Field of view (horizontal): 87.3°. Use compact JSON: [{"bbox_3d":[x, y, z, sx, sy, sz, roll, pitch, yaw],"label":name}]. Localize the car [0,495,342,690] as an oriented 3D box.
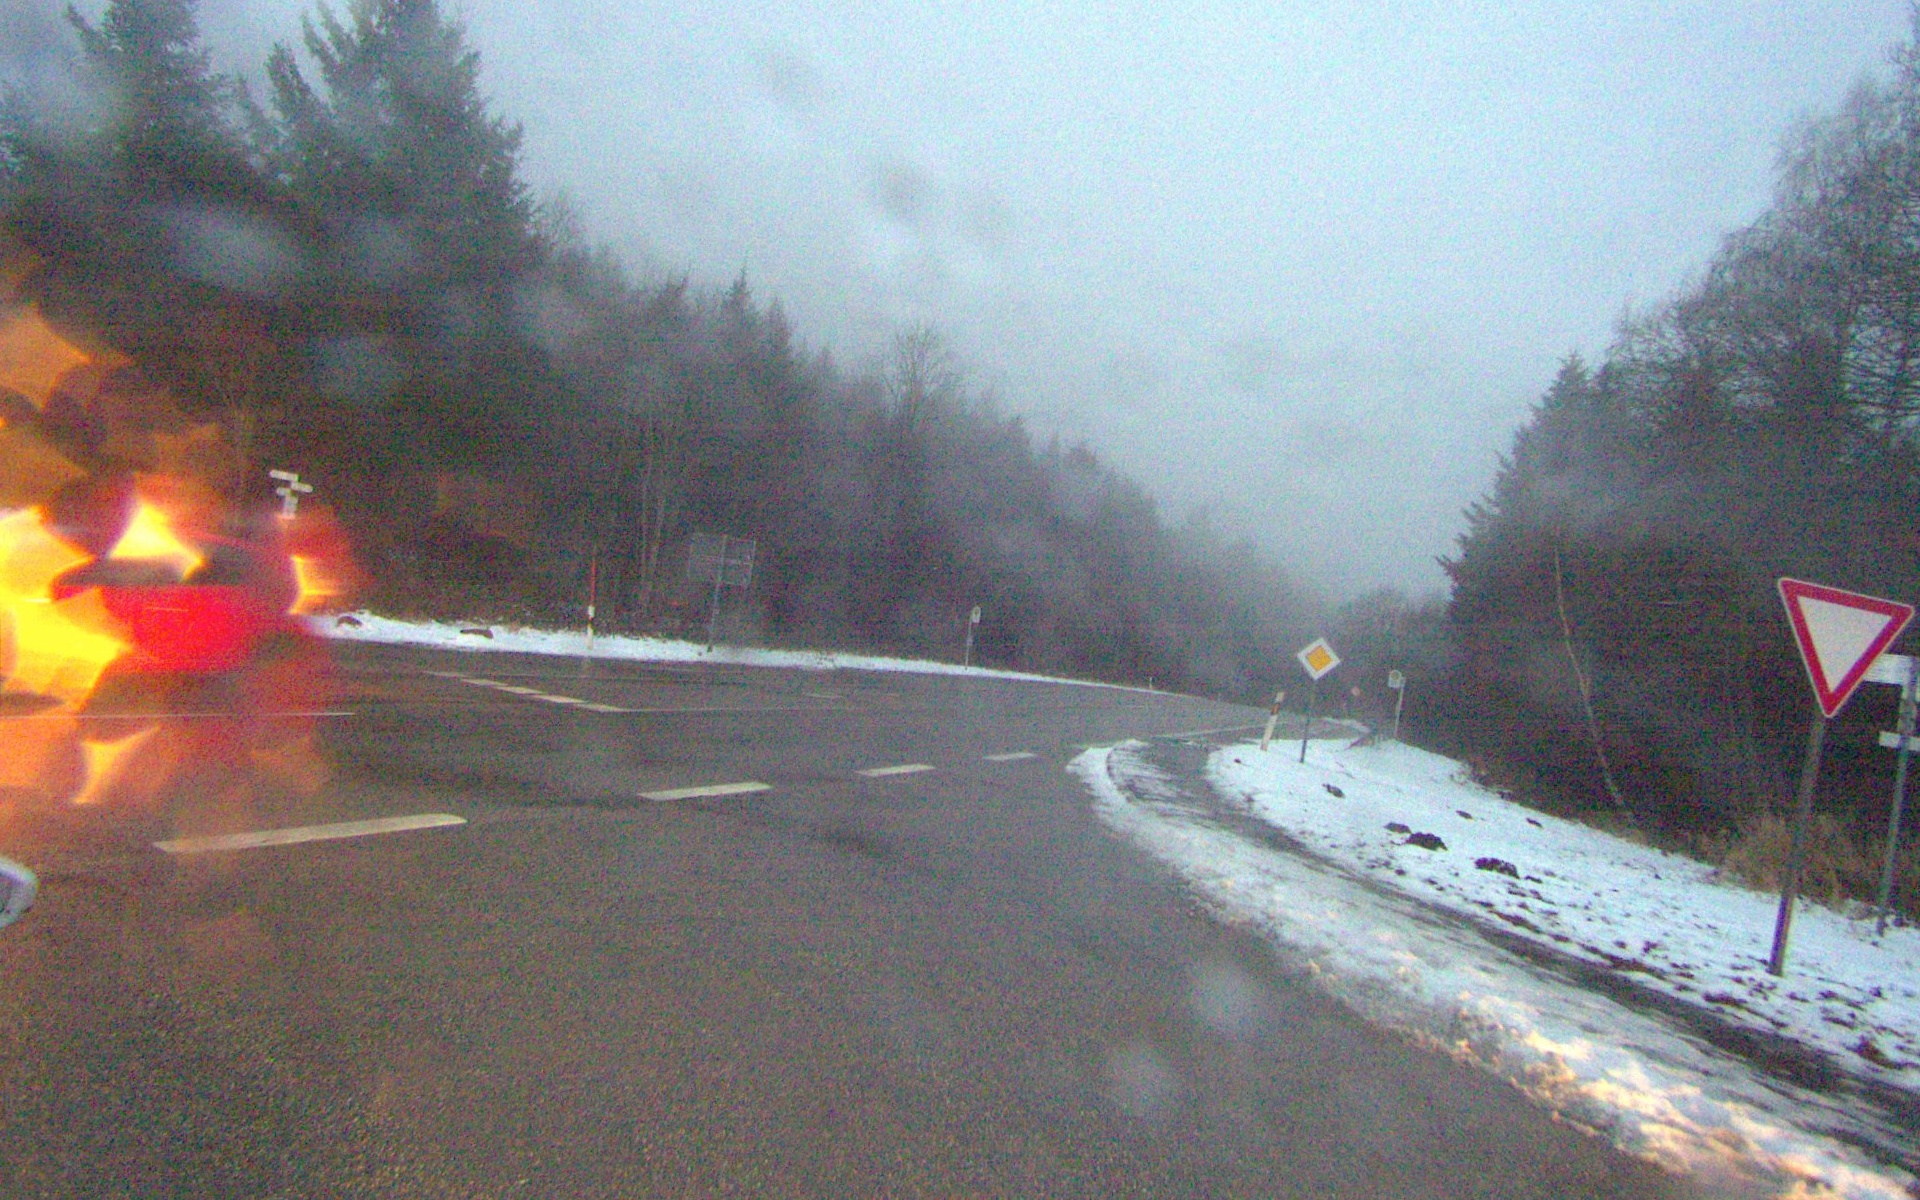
[{"bbox_3d":[-7.645,-0.059,8.806,1.548,1.469,3.414,7,-2,24],"label":"car"}]
